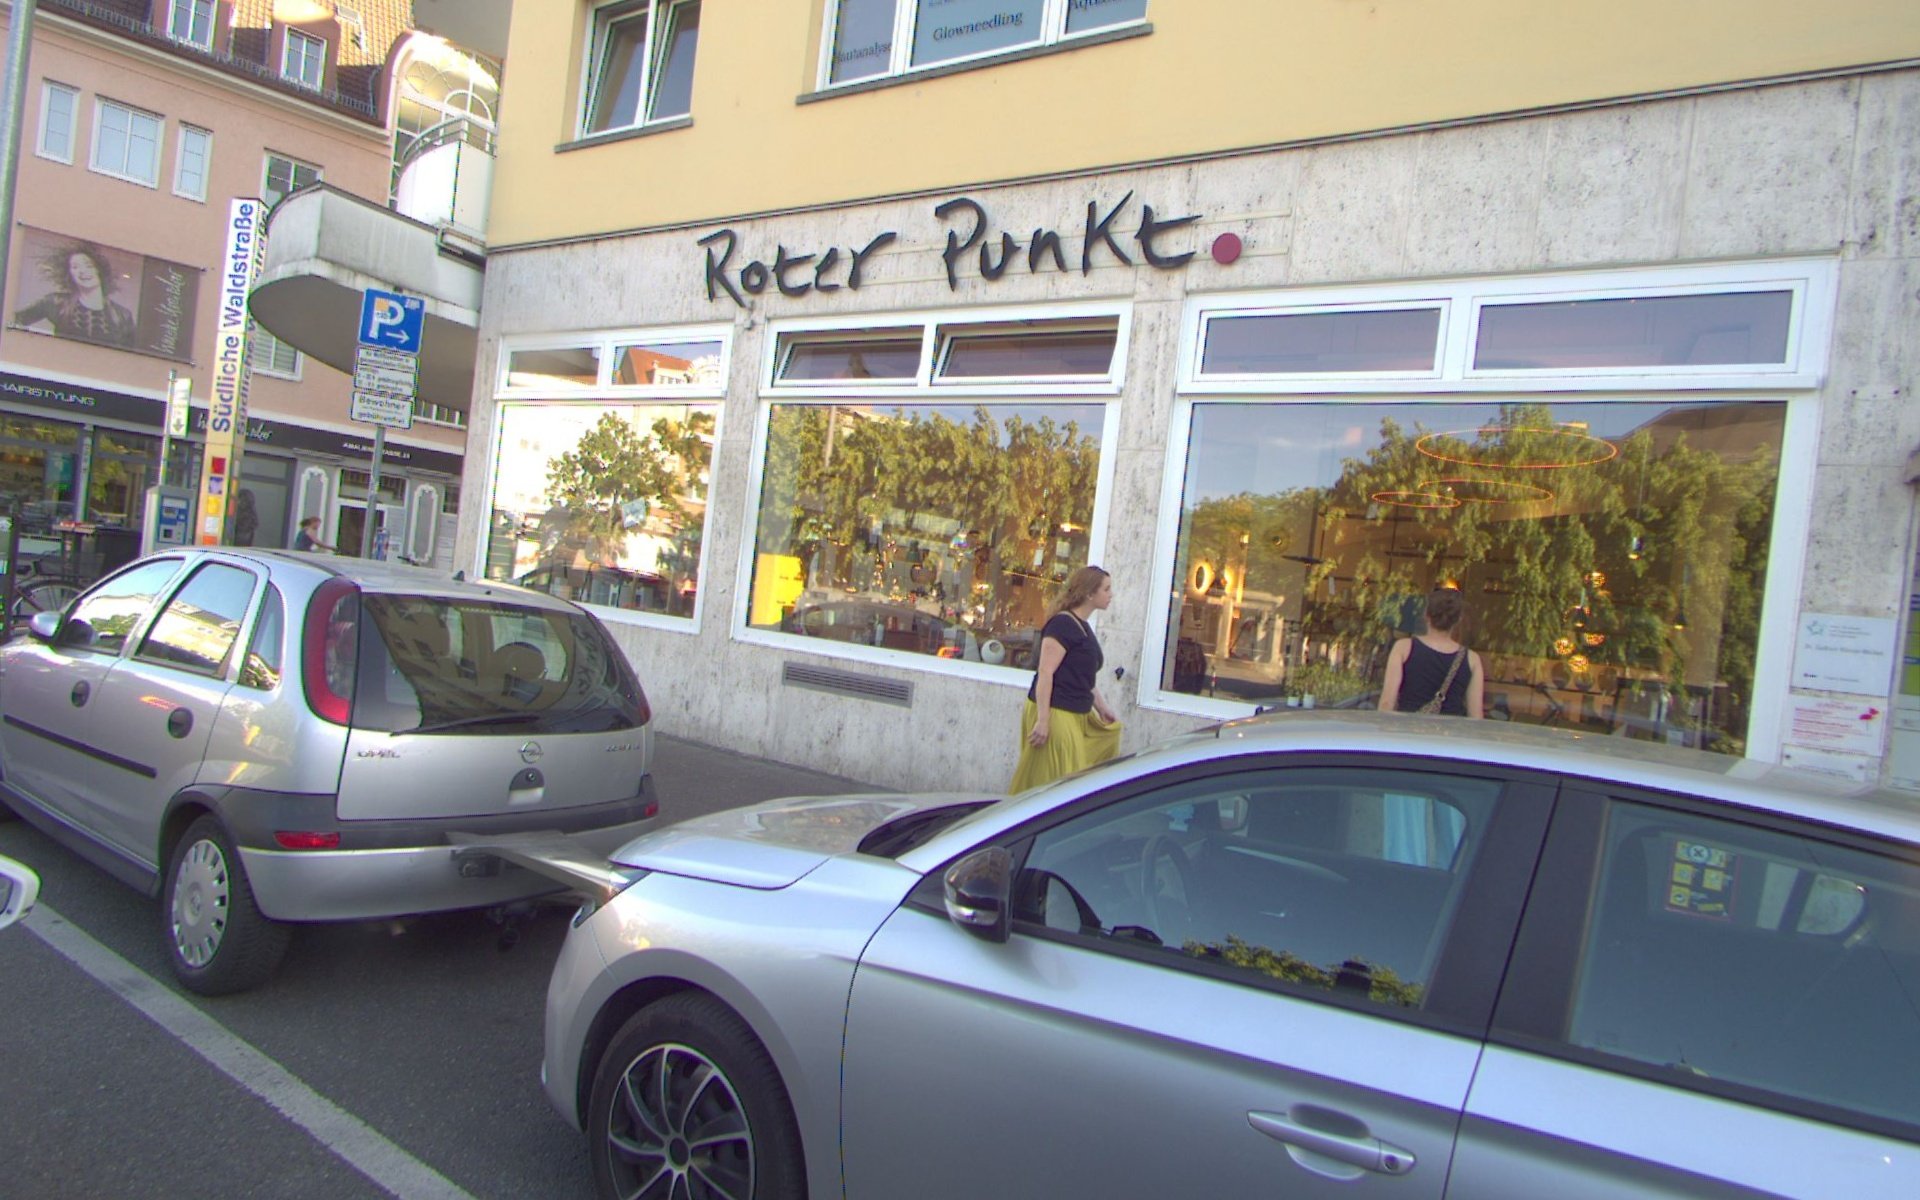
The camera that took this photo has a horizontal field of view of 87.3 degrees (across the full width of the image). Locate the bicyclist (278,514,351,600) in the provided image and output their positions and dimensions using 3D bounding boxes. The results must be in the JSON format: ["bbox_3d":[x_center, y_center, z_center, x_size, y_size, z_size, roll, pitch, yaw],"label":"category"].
[{"bbox_3d":[-12.288,-0.816,19.155,0.692,1.500,0.889,6,-1,44],"label":"bicyclist"}]

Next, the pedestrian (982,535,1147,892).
[{"bbox_3d":[0.606,0.602,5.634,0.557,1.805,0.743,7,0,19],"label":"pedestrian"}]

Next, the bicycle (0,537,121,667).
[{"bbox_3d":[-8.125,-0.003,8.222,0.348,1.051,1.871,6,1,38],"label":"bicycle"}]

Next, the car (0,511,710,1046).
[{"bbox_3d":[-2.950,0.477,4.423,3.420,1.407,1.548,6,-1,33],"label":"car"}]

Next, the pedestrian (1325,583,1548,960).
[{"bbox_3d":[2.345,0.808,5.033,0.646,1.685,0.648,7,0,6],"label":"pedestrian"}]

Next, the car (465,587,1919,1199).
[{"bbox_3d":[0.769,0.922,2.277,3.598,1.444,1.550,6,-1,30],"label":"car"}]

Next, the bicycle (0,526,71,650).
[{"bbox_3d":[-9.099,-0.150,8.815,0.408,1.101,1.872,6,1,35],"label":"bicycle"}]

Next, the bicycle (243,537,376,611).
[{"bbox_3d":[-12.343,-0.478,19.134,0.700,1.131,1.930,6,-1,44],"label":"bicycle"}]
